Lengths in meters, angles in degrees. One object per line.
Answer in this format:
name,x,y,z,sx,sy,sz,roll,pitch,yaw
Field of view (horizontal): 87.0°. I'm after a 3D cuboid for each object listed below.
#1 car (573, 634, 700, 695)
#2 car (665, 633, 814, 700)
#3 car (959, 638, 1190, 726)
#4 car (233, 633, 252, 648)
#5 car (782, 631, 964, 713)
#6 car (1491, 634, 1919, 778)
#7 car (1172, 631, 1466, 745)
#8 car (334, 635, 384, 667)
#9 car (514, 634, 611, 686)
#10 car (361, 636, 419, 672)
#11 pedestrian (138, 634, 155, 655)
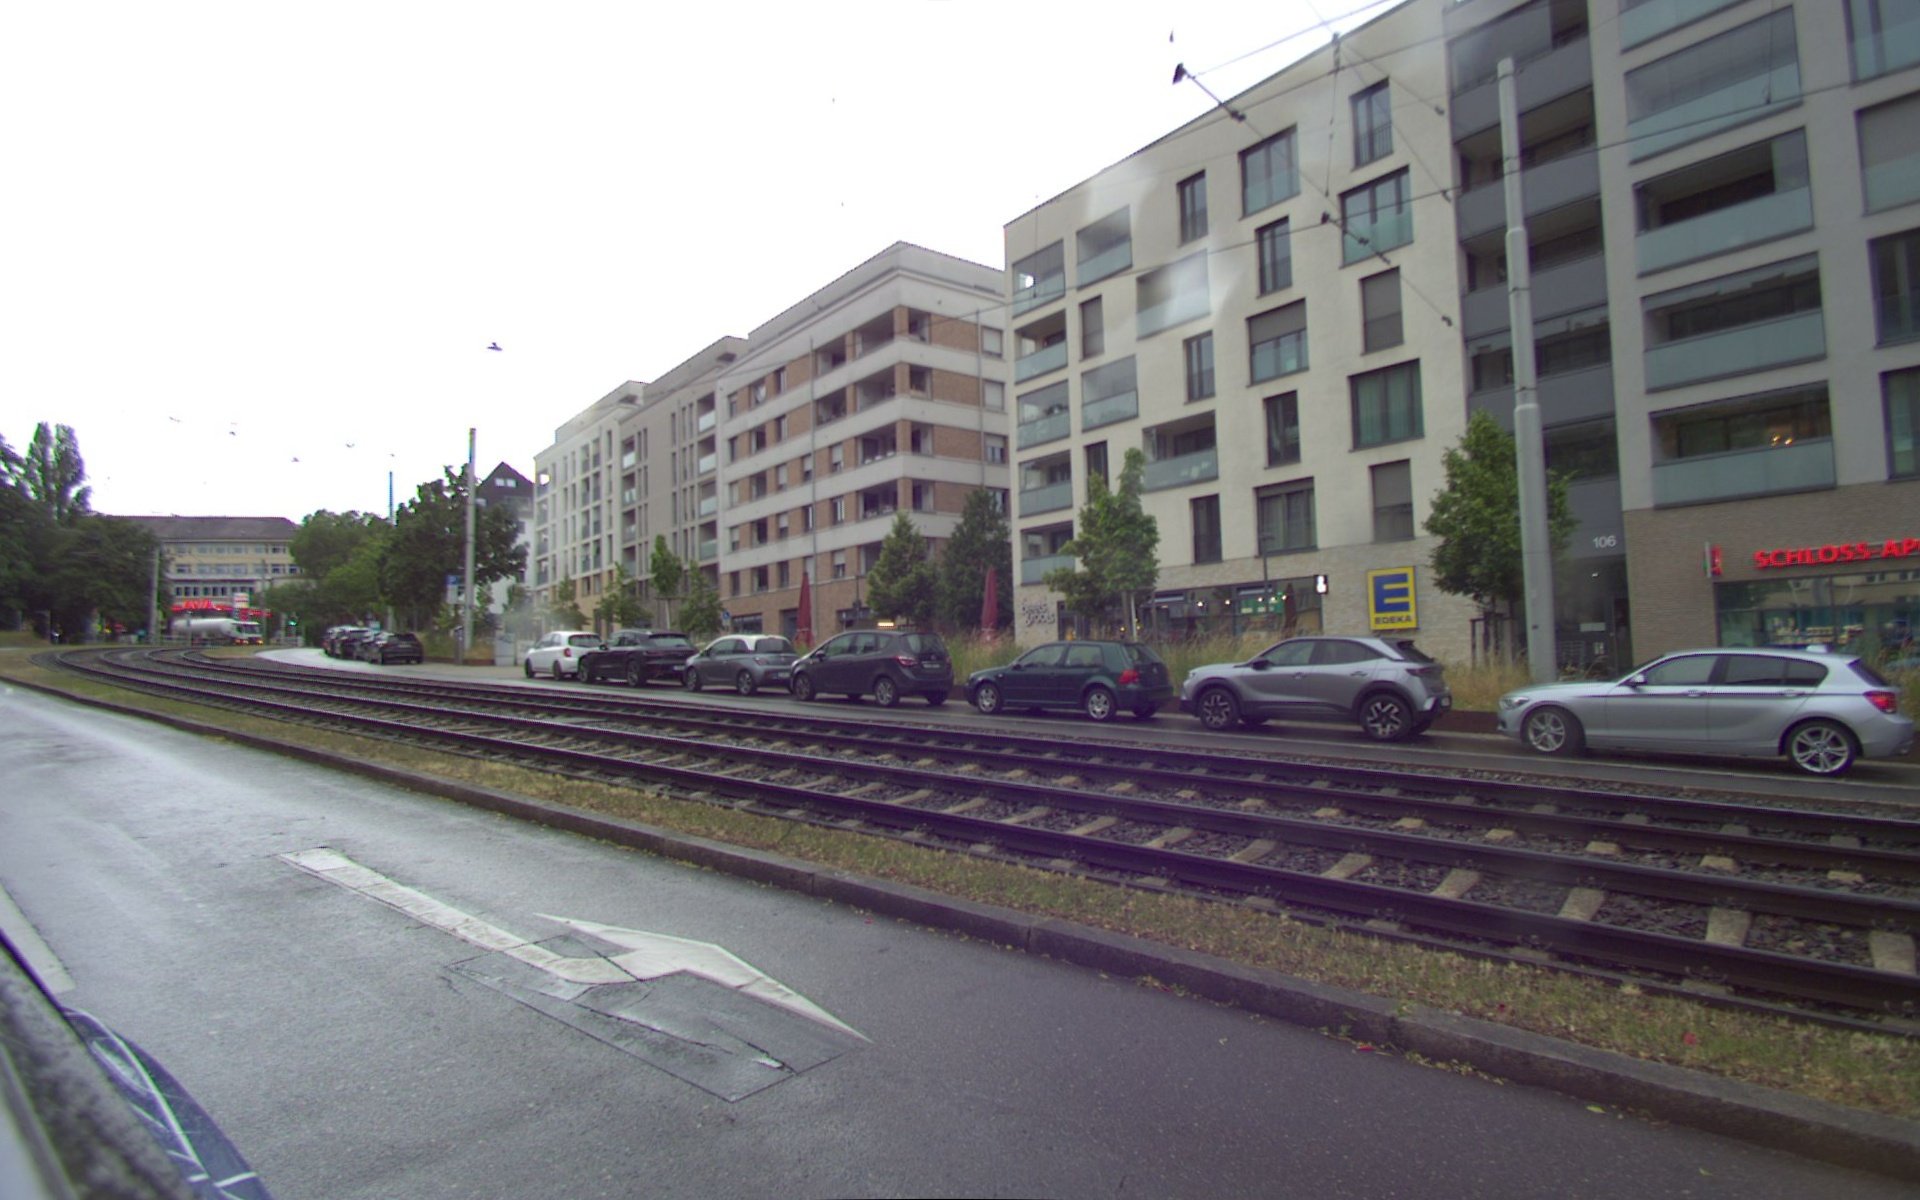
car,-9.254,1.771,28.743,1.660,1.516,4.408,0,-1,-44
car,-5.638,1.620,25.630,3.926,1.516,1.663,-1,-1,40
car,2.041,1.436,18.794,4.030,1.391,1.663,-1,-1,40
car,-81.907,4.625,115.612,1.641,1.619,3.818,-1,0,-34
car,-1.941,1.478,21.948,3.926,1.575,1.663,-1,-1,40
car,9.245,1.188,12.685,4.326,1.475,1.663,-1,-1,40
car,5.558,1.276,15.871,4.042,1.541,1.665,-1,-1,36
car,-31.180,2.635,52.493,1.630,1.475,3.676,-1,0,-40
car,-12.758,1.870,32.378,1.627,1.516,3.784,0,-1,-44
car,-26.035,2.424,46.184,1.630,1.475,3.676,-1,0,-40
pedestrian,-71.910,3.914,89.448,0.811,1.777,0.745,0,-4,17
